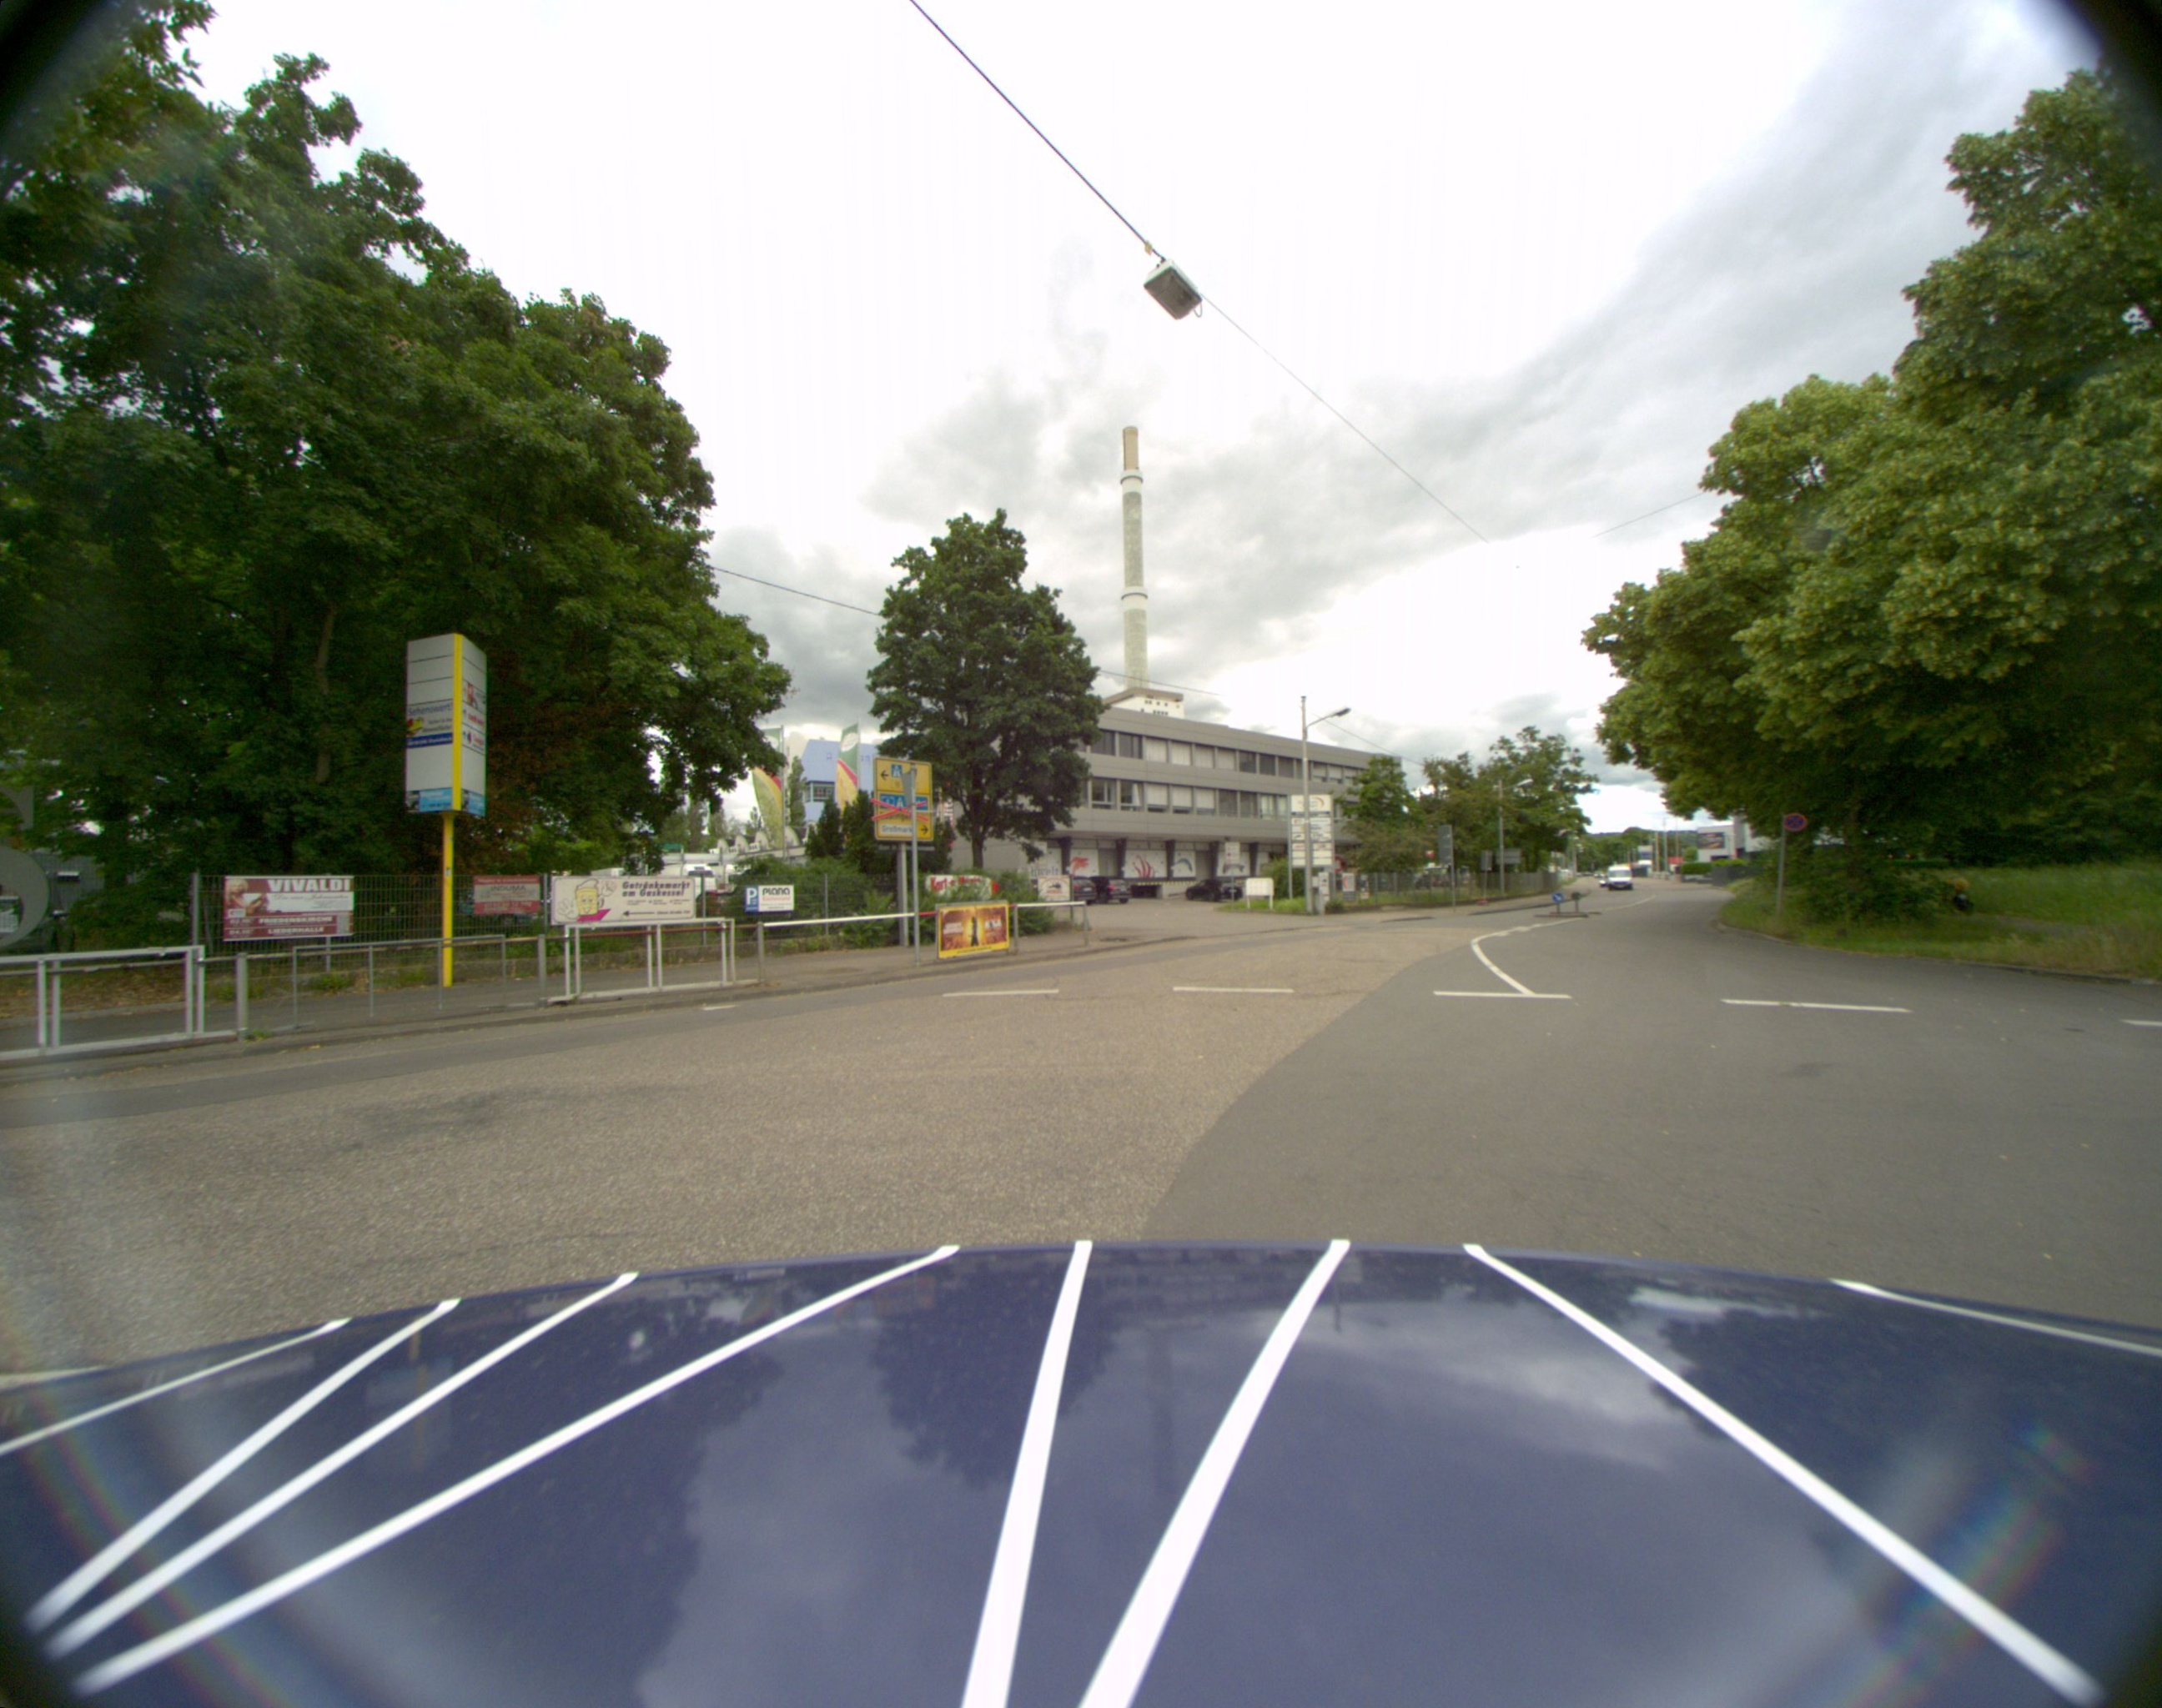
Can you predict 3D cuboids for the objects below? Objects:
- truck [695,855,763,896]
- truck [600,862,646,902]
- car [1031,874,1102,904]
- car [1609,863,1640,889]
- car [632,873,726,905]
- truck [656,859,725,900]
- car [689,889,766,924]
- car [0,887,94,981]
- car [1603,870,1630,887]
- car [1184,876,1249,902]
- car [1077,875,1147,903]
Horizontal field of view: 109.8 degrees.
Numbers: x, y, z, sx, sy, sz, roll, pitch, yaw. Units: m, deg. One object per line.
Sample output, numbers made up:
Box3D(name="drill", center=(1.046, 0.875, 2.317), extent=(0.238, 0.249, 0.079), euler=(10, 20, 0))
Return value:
Box3D(name="truck", center=(-38.357, 2.448, 82.194), extent=(2.879, 4.000, 15.811), euler=(0, -2, -39))
Box3D(name="truck", center=(-50.358, 3.050, 83.383), extent=(3.006, 4.140, 9.165), euler=(0, -2, -40))
Box3D(name="car", center=(-0.899, 1.998, 44.184), extent=(1.843, 1.608, 4.453), euler=(0, -1, -37))
Box3D(name="car", center=(54.996, 2.201, 76.851), extent=(2.383, 2.443, 6.114), euler=(-3, -2, 36))
Box3D(name="car", center=(-36.178, 3.140, 68.525), extent=(7.169, 2.715, 2.238), euler=(1, -2, -39))
Box3D(name="truck", center=(-40.974, 2.781, 79.291), extent=(2.858, 3.909, 15.689), euler=(0, -2, -41))
Box3D(name="car", center=(-13.829, 2.012, 29.618), extent=(1.713, 1.241, 3.692), euler=(1, -2, -42))
Box3D(name="car", center=(-20.300, 1.480, 14.276), extent=(1.595, 1.603, 3.990), euler=(0, -3, -44))
Box3D(name="car", center=(63.068, 2.851, 89.474), extent=(2.383, 1.858, 5.218), euler=(-3, -2, 36))
Box3D(name="car", center=(8.814, 2.245, 49.763), extent=(2.053, 1.437, 4.820), euler=(-1, 0, -20))
Box3D(name="car", center=(1.825, 2.072, 46.067), extent=(1.843, 1.608, 4.411), euler=(0, -1, -38))
